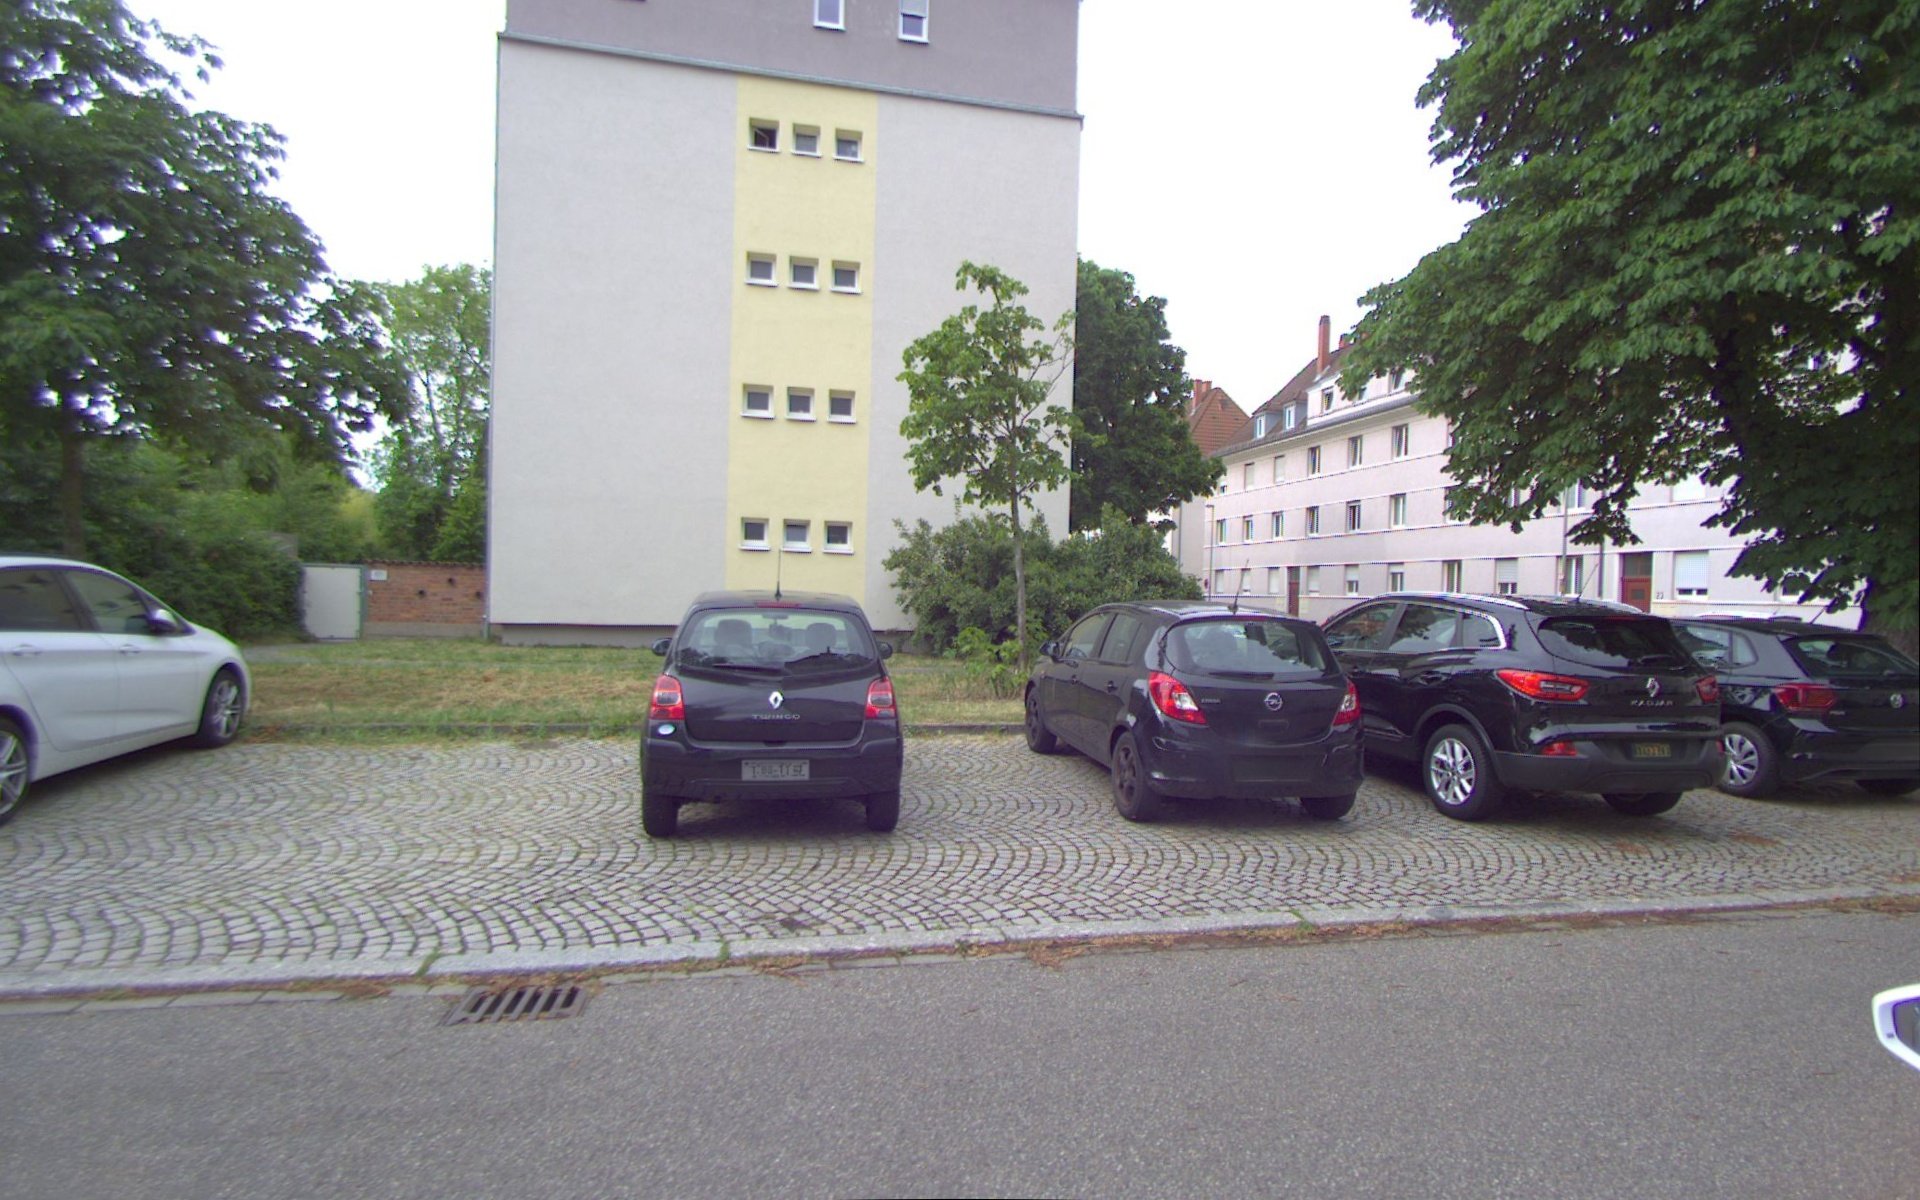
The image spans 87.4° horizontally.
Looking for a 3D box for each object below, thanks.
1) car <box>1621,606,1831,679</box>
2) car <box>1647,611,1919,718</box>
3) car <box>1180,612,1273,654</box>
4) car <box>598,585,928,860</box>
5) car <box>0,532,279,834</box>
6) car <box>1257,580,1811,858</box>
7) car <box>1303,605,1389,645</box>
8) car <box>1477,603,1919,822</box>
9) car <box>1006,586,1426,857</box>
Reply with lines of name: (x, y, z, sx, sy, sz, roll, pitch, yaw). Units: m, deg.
car: (20.253, 1.058, 26.818, 1.817, 1.696, 4.277, 0, 1, -14)
car: (14.163, 1.040, 17.485, 1.502, 1.513, 3.585, 4, 0, -9)
car: (9.825, 1.183, 37.293, 1.672, 1.275, 4.006, 3, 0, -12)
car: (-1.426, 0.685, 7.999, 1.808, 1.483, 4.553, 2, 1, -8)
car: (-6.545, 0.402, 6.684, 1.852, 1.582, 4.138, 3, 3, -12)
car: (4.290, 0.737, 8.419, 1.881, 1.720, 4.062, 2, 1, -8)
car: (16.591, 1.046, 43.314, 1.672, 1.546, 3.817, 0, 1, -11)
car: (7.026, 0.864, 9.554, 1.798, 1.598, 3.836, 1, 0, -9)
car: (1.704, 0.738, 8.352, 1.808, 1.587, 4.350, 2, 1, -8)
